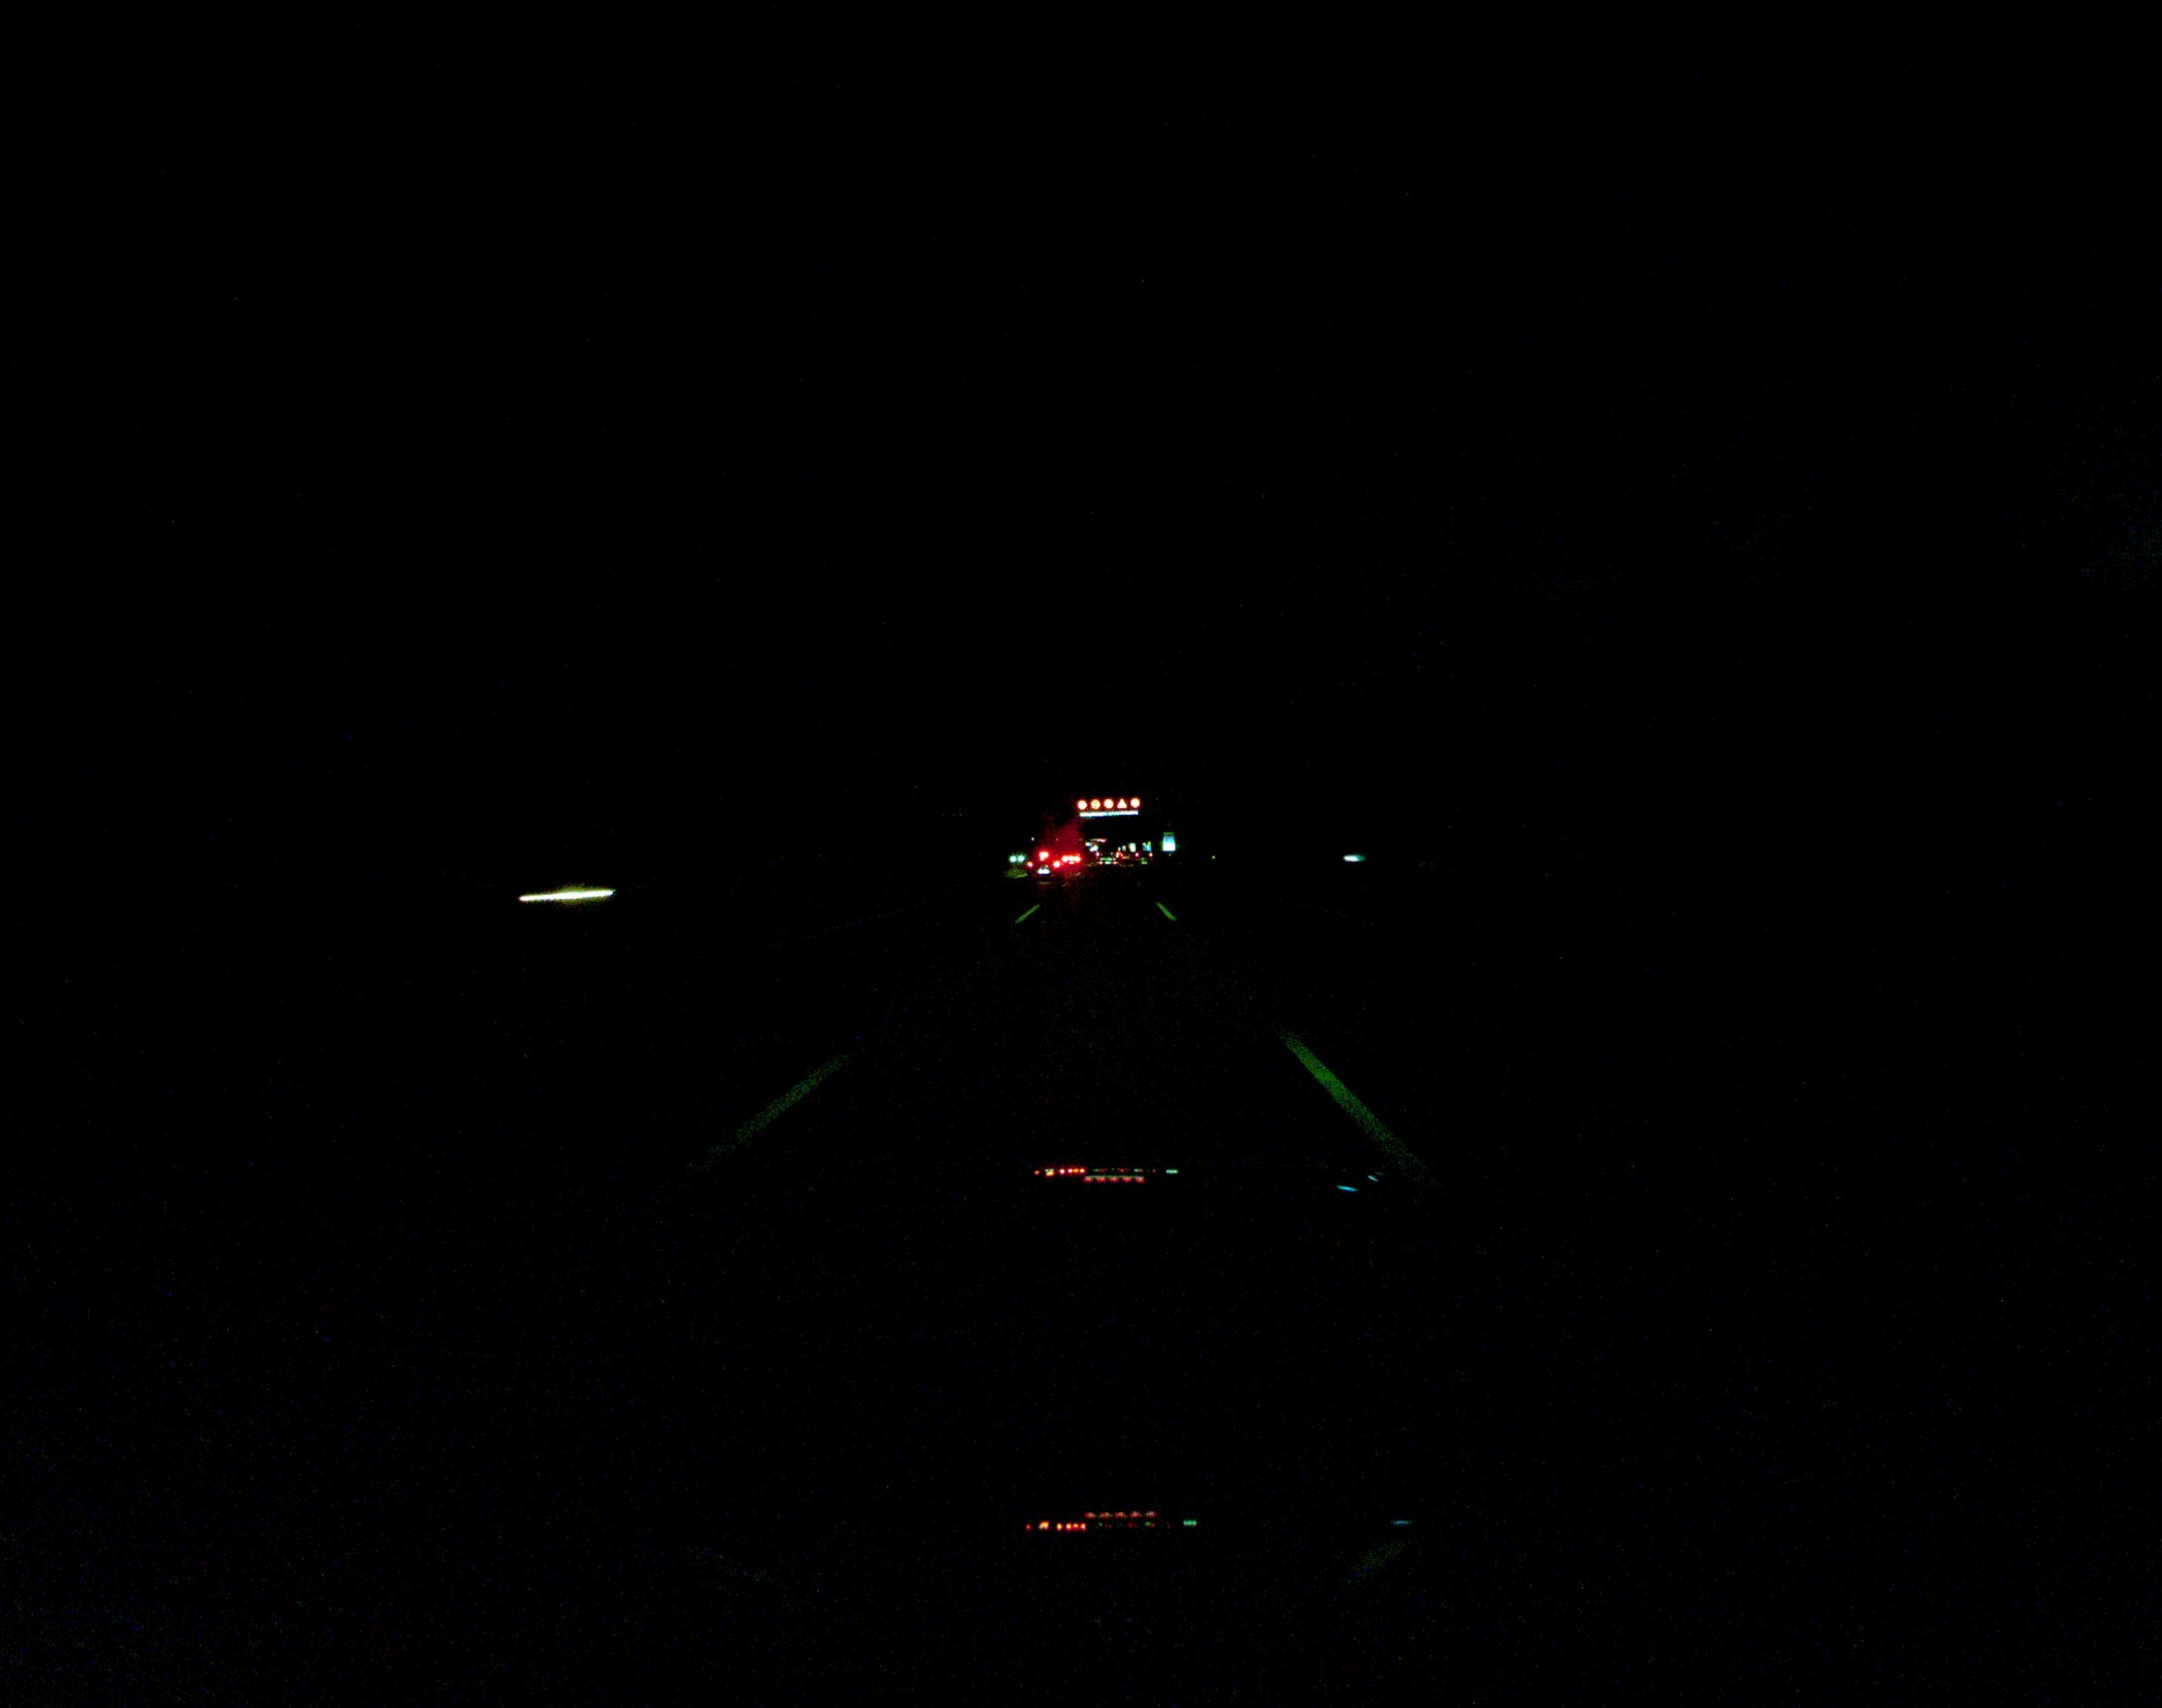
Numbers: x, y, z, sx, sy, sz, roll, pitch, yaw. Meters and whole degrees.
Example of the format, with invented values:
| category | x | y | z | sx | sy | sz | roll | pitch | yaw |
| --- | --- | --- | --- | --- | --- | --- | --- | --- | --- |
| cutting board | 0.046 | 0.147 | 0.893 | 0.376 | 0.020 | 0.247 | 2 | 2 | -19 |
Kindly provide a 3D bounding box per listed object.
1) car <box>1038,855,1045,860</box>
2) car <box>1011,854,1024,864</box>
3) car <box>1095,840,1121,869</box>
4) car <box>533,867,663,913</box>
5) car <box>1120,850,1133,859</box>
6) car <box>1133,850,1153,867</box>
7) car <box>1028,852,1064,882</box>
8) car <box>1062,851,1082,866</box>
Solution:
| category | x | y | z | sx | sy | sz | roll | pitch | yaw |
| --- | --- | --- | --- | --- | --- | --- | --- | --- | --- |
| car | -11.798 | 1.099 | 243.497 | 1.896 | 1.282 | 4.352 | -2 | 0 | 2 |
| car | -11.269 | 0.853 | 145.798 | 1.897 | 1.617 | 4.403 | -2 | 0 | 0 |
| car | 2.552 | 0.004 | 76.348 | 2.342 | 2.535 | 5.704 | -2 | 0 | 2 |
| car | -18.731 | 1.326 | 31.907 | 1.896 | 1.634 | 5.048 | 1 | -1 | 2 |
| car | 8.261 | 0.165 | 148.446 | 2.154 | 1.563 | 4.725 | -1 | 0 | 2 |
| car | 5.973 | 0.436 | 78.981 | 1.640 | 1.596 | 4.510 | -1 | 0 | 1 |
| car | -1.781 | 0.632 | 42.573 | 1.789 | 1.469 | 3.770 | 0 | 0 | -2 |
| car | -0.900 | 0.475 | 82.612 | 1.738 | 1.440 | 4.370 | -2 | 0 | 2 |
